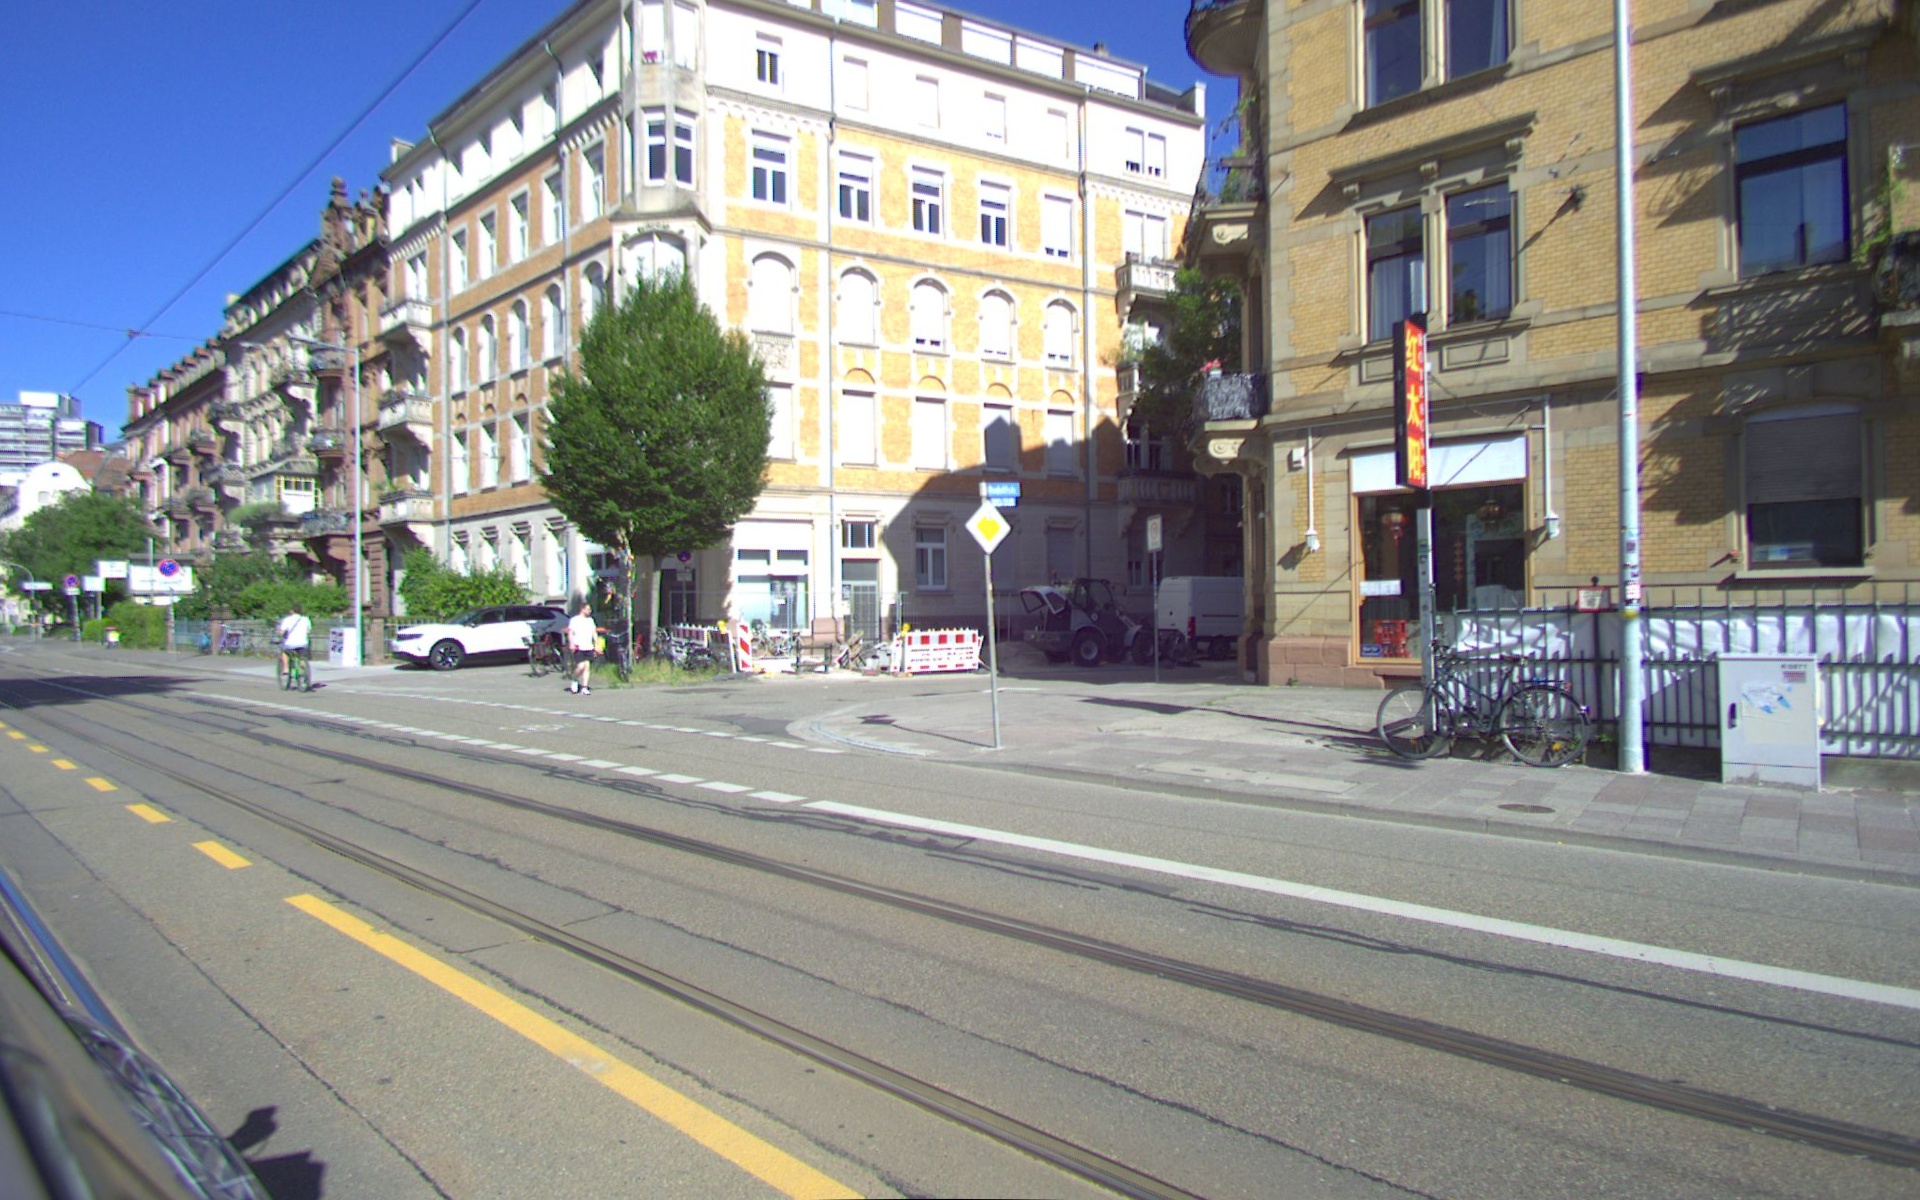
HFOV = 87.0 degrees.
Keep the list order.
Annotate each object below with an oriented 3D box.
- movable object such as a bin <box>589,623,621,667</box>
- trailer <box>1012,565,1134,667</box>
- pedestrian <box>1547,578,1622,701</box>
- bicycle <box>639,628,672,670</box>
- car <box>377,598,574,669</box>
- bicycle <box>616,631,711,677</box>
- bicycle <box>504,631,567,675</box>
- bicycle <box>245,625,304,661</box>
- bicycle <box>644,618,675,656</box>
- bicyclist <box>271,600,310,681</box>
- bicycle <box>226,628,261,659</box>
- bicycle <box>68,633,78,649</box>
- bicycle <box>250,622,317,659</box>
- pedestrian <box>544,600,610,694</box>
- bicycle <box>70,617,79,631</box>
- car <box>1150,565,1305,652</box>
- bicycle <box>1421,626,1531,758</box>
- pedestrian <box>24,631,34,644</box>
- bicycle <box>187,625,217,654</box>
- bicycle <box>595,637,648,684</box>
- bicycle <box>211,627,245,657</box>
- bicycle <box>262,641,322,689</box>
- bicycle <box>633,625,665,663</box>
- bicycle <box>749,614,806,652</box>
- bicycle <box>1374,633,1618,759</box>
[{"bbox_3d":[-9.123,1.153,26.007,0.568,1.079,0.718,-2,0,-36],"label":"movable object such as a bin"},{"bbox_3d":[3.193,0.453,28.605,2.878,2.716,1.834,1,-1,-26],"label":"trailer"},{"bbox_3d":[7.268,0.450,11.763,0.577,1.363,0.891,-1,-2,42],"label":"pedestrian"},{"bbox_3d":[-7.227,1.155,24.060,0.611,0.921,1.298,0,1,-11],"label":"bicycle"},{"bbox_3d":[-13.075,0.837,27.504,1.967,1.656,4.397,-1,1,43],"label":"car"},{"bbox_3d":[-6.664,1.208,22.783,1.963,0.983,0.579,-1,0,6],"label":"bicycle"},{"bbox_3d":[-10.006,1.231,23.895,0.613,0.921,1.786,0,1,5],"label":"bicycle"},{"bbox_3d":[-22.300,1.396,32.924,1.752,1.041,0.562,-3,3,17],"label":"bicycle"},{"bbox_3d":[-7.942,0.965,26.782,0.244,0.921,1.540,0,1,5],"label":"bicycle"},{"bbox_3d":[-13.868,0.838,20.972,0.744,1.631,0.459,-2,-3,41],"label":"bicyclist"},{"bbox_3d":[-25.110,1.516,35.462,1.766,1.041,0.557,-2,1,41],"label":"bicycle"},{"bbox_3d":[-55.410,2.547,63.219,0.338,0.933,1.944,-2,1,-44],"label":"bicycle"},{"bbox_3d":[-21.194,1.273,31.715,1.745,1.041,0.564,-3,0,5],"label":"bicycle"},{"bbox_3d":[-7.381,0.873,19.489,0.819,1.736,1.084,-2,1,-42],"label":"pedestrian"},{"bbox_3d":[-59.045,1.603,67.466,0.338,0.933,1.944,-2,1,-44],"label":"bicycle"},{"bbox_3d":[8.615,0.196,32.565,4.556,2.521,2.007,-2,3,-24],"label":"car"},{"bbox_3d":[4.720,0.817,9.278,0.808,1.134,0.367,-2,0,41],"label":"bicycle"},{"bbox_3d":[-95.382,3.849,103.731,0.724,1.291,0.650,-2,1,41],"label":"pedestrian"},{"bbox_3d":[-29.470,1.538,39.345,1.767,1.041,0.557,-3,0,42],"label":"bicycle"},{"bbox_3d":[-7.251,1.286,21.730,0.613,0.921,1.293,0,1,5],"label":"bicycle"},{"bbox_3d":[-26.602,1.524,36.760,1.766,1.041,0.557,-2,1,41],"label":"bicycle"},{"bbox_3d":[-13.829,1.316,20.932,2.201,0.933,0.455,-1,-2,41],"label":"bicycle"},{"bbox_3d":[-8.232,1.155,26.822,0.244,0.921,1.540,0,1,5],"label":"bicycle"},{"bbox_3d":[-5.423,0.989,30.122,1.576,1.045,0.407,-2,-1,-24],"label":"bicycle"},{"bbox_3d":[4.710,0.808,8.998,1.869,1.008,0.331,-1,1,41],"label":"bicycle"}]
